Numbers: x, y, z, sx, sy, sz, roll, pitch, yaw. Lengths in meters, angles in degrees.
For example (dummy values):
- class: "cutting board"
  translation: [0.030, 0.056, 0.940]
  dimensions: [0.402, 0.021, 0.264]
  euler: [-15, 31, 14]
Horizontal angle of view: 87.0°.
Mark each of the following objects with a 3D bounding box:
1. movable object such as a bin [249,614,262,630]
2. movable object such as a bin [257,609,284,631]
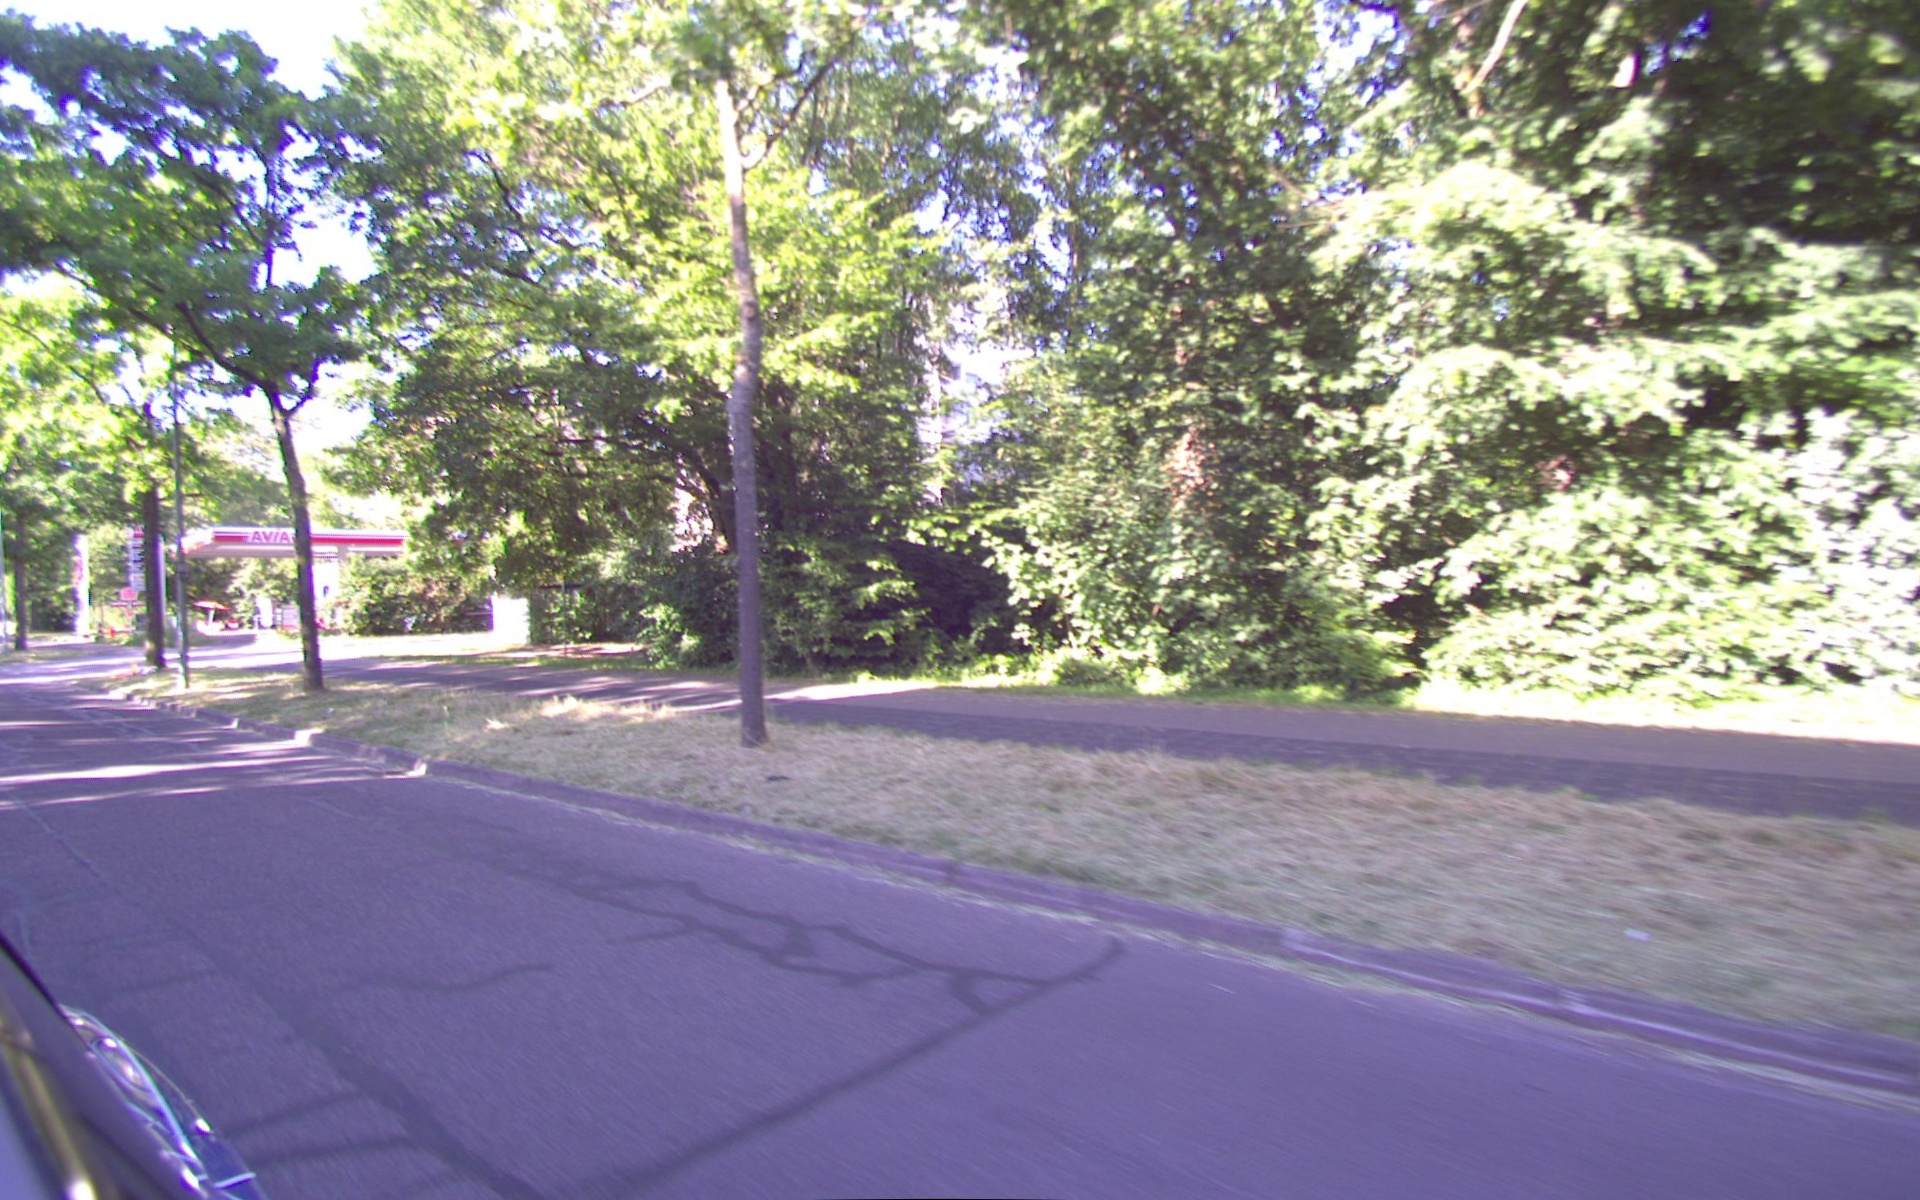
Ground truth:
- class: "movable object such as a bin"
  translation: [-50.535, 1.557, 72.587]
  dimensions: [0.768, 1.094, 0.562]
  euler: [-1, 0, 42]
- class: "movable object such as a bin"
  translation: [-50.039, 1.421, 73.460]
  dimensions: [1.267, 1.553, 1.290]
  euler: [-1, 0, 41]
